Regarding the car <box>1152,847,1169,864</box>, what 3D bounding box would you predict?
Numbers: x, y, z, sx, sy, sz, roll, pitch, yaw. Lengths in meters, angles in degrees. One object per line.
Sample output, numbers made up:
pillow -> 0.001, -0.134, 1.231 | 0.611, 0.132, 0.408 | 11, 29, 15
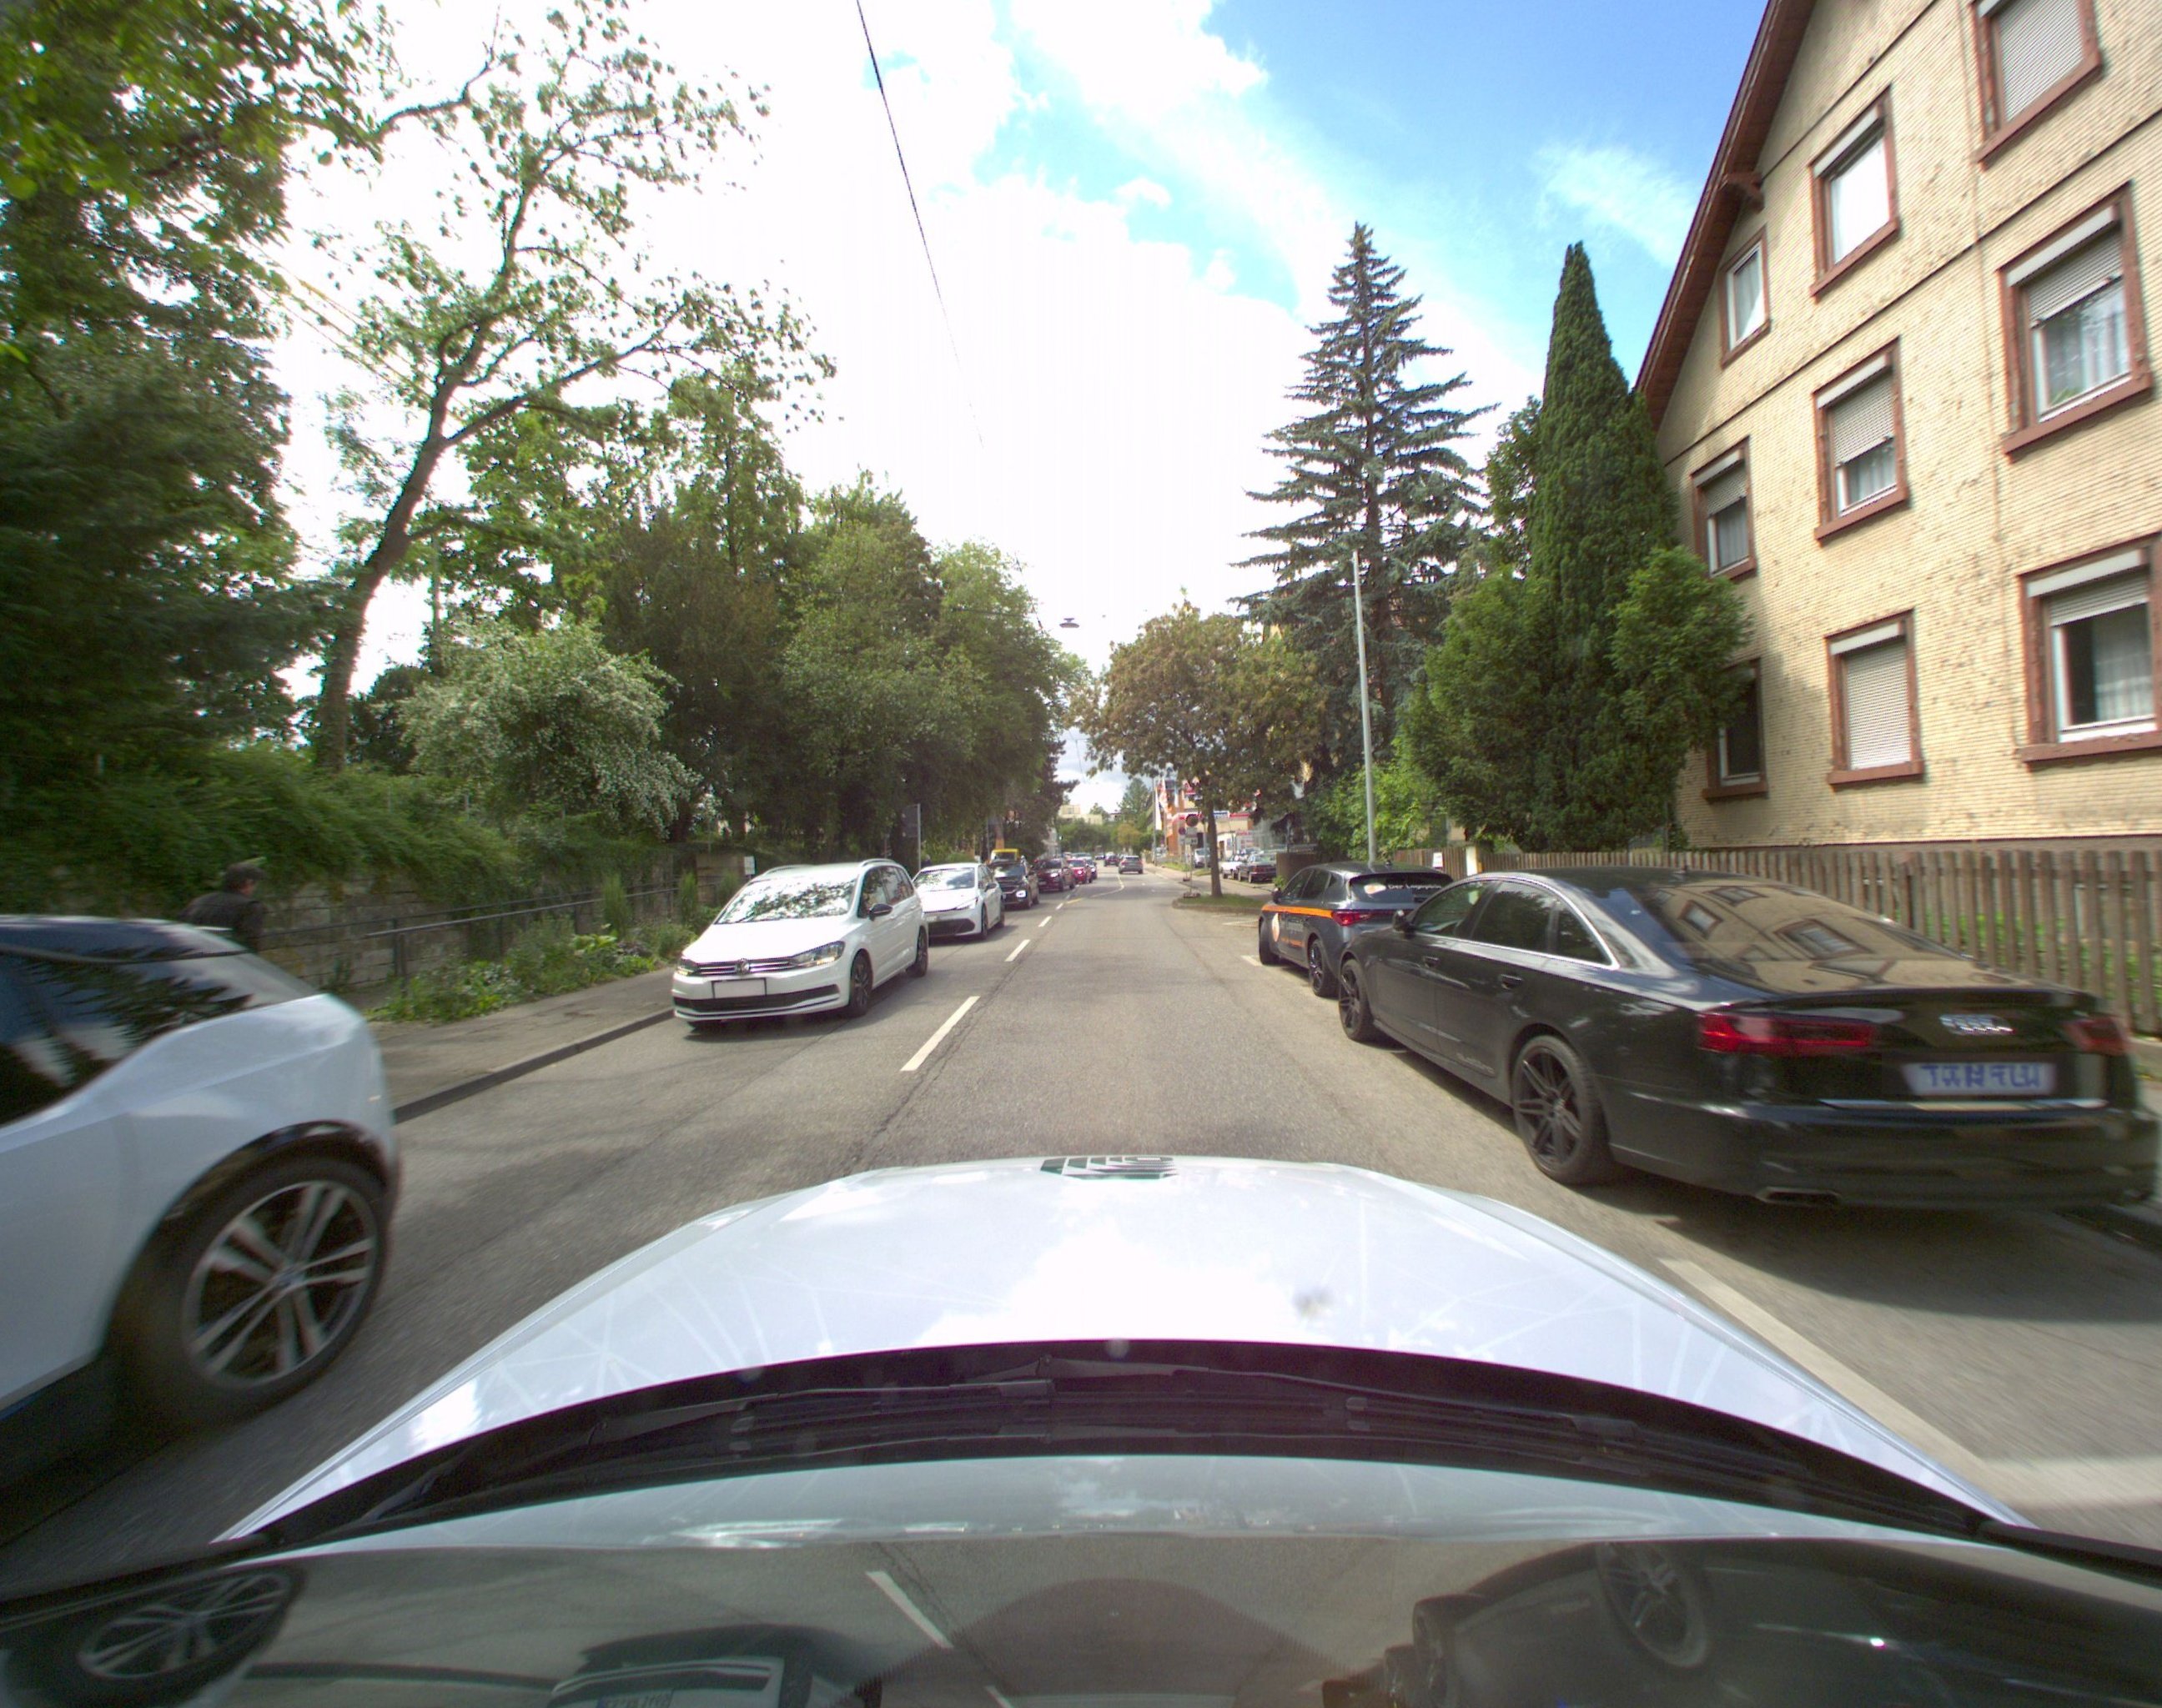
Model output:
car -> 10.201, 0.196, 105.004 | 1.985, 2.014, 4.003 | -1, -1, 3

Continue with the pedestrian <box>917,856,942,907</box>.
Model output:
pedestrian -> -5.454, 0.988, 29.382 | 0.712, 1.762, 1.120 | -1, -1, -4

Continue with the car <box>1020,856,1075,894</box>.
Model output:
car -> -1.489, 0.941, 38.111 | 1.752, 1.533, 4.106 | -3, 0, 8

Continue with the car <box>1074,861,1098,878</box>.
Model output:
car -> 0.457, 1.317, 70.287 | 1.952, 1.394, 4.296 | -1, -1, 1

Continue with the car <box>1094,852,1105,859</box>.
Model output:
car -> 3.915, 0.378, 174.484 | 2.101, 1.501, 4.271 | -2, 0, 4

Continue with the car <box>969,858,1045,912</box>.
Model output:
car -> -2.324, 0.941, 26.711 | 1.781, 1.542, 4.267 | -3, 0, 3

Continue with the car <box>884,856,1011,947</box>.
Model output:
car -> -2.671, 0.889, 17.255 | 1.778, 1.592, 4.155 | -3, 0, 2

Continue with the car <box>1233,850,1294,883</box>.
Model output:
car -> 8.081, 0.539, 36.395 | 1.719, 1.316, 4.265 | -1, 0, -1

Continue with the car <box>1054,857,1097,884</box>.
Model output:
car -> -0.290, 0.955, 47.088 | 1.679, 1.425, 3.449 | -2, -1, 13

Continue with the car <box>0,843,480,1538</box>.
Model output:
car -> -3.430, 0.824, 1.166 | 1.921, 1.546, 4.087 | -5, 0, 1

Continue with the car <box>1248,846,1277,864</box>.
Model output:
car -> 17.699, 0.112, 79.489 | 1.780, 1.634, 3.688 | -5, -1, -3

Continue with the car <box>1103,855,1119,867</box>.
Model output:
car -> 3.769, 0.870, 101.695 | 1.810, 1.501, 4.266 | 0, 0, 0

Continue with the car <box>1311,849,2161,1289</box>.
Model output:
car -> 3.012, 0.729, 5.139 | 1.795, 1.445, 4.886 | 0, 0, 0

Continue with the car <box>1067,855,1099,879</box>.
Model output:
car -> 0.167, 0.892, 55.187 | 1.921, 1.578, 4.298 | -1, -1, 3

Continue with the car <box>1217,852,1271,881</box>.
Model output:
car -> 8.225, 0.616, 41.446 | 1.718, 1.364, 4.482 | -2, 0, -1

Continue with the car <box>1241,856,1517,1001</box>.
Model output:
car -> 3.404, 0.754, 10.342 | 1.818, 1.417, 4.507 | 0, 0, -1

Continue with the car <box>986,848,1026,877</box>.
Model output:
car -> -5.447, 0.644, 59.964 | 2.136, 1.981, 4.935 | -2, -1, 4

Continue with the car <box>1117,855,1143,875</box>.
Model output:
car -> 3.961, 0.890, 66.190 | 1.968, 1.513, 4.269 | 2, 0, 2

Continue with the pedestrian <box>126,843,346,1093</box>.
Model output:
pedestrian -> -6.151, 0.778, 5.995 | 0.651, 1.667, 0.930 | -1, -2, -4

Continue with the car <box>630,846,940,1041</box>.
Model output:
car -> -3.063, 0.816, 9.579 | 1.779, 1.648, 4.492 | -4, 0, 2

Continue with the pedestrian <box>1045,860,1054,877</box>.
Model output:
pedestrian -> -2.732, 1.219, 70.192 | 0.705, 1.439, 0.711 | -1, -2, -10

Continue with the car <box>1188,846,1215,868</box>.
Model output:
car -> 9.705, 0.244, 65.794 | 1.776, 1.634, 3.697 | -5, -1, 5

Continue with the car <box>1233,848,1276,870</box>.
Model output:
car -> 11.790, 0.332, 55.595 | 1.837, 1.355, 4.065 | -2, 0, -2

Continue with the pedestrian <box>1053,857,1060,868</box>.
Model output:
pedestrian -> -3.227, 1.164, 107.156 | 0.701, 1.439, 0.714 | -2, -2, 5
